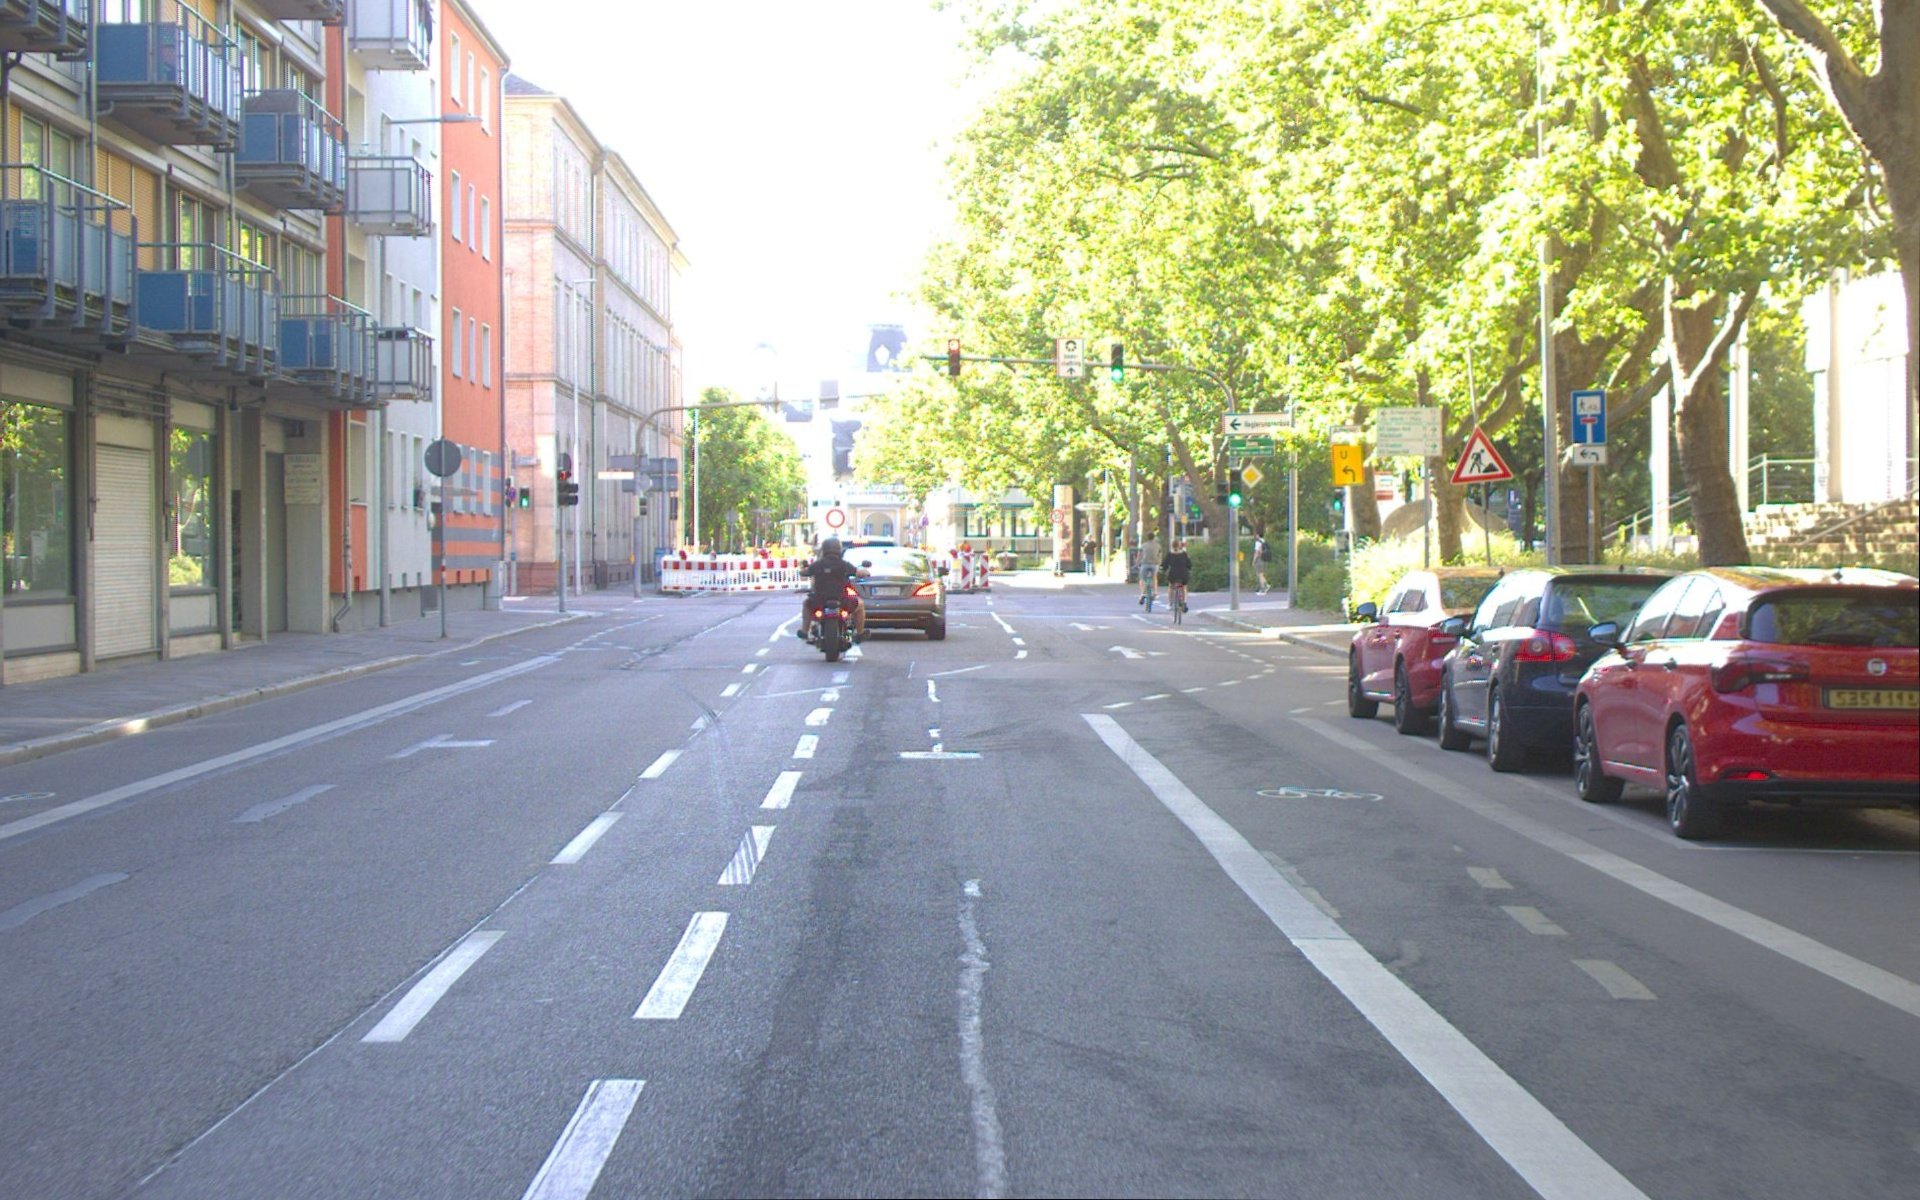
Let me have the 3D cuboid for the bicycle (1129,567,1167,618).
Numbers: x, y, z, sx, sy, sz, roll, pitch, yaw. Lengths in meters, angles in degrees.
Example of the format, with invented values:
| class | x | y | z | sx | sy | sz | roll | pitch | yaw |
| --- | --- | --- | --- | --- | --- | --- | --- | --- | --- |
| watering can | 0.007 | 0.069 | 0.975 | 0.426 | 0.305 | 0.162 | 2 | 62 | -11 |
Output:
| class | x | y | z | sx | sy | sz | roll | pitch | yaw |
| --- | --- | --- | --- | --- | --- | --- | --- | --- | --- |
| bicycle | 4.144 | -0.173 | 75.868 | 0.656 | 1.107 | 2.186 | 2 | 0 | -1 |

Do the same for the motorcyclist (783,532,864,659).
| class | x | y | z | sx | sy | sz | roll | pitch | yaw |
| --- | --- | --- | --- | --- | --- | --- | --- | --- | --- |
| motorcyclist | -1.732 | -0.067 | 43.933 | 1.012 | 1.596 | 1.406 | 0 | 1 | -1 |

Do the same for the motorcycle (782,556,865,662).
| class | x | y | z | sx | sy | sz | roll | pitch | yaw |
| --- | --- | --- | --- | --- | --- | --- | --- | --- | --- |
| motorcycle | -1.716 | 0.092 | 43.725 | 1.012 | 1.302 | 2.673 | 0 | 1 | -1 |

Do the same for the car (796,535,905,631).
| class | x | y | z | sx | sy | sz | roll | pitch | yaw |
| --- | --- | --- | --- | --- | --- | --- | --- | --- | --- |
| car | -2.020 | -0.323 | 62.537 | 1.629 | 1.645 | 3.851 | 2 | 0 | -7 |

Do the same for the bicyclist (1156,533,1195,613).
| class | x | y | z | sx | sy | sz | roll | pitch | yaw |
| --- | --- | --- | --- | --- | --- | --- | --- | --- | --- |
| bicyclist | 4.210 | -0.529 | 67.169 | 0.656 | 1.525 | 0.852 | 2 | 0 | -1 |

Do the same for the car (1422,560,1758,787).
| class | x | y | z | sx | sy | sz | roll | pitch | yaw |
| --- | --- | --- | --- | --- | --- | --- | --- | --- | --- |
| car | 4.554 | 0.478 | 25.405 | 1.693 | 1.461 | 4.065 | 2 | 1 | 0 |

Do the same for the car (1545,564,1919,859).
| class | x | y | z | sx | sy | sz | roll | pitch | yaw |
| --- | --- | --- | --- | --- | --- | --- | --- | --- | --- |
| car | 4.689 | 0.569 | 20.113 | 1.693 | 1.474 | 4.319 | 2 | 1 | -1 |

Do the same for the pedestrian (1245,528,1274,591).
| class | x | y | z | sx | sy | sz | roll | pitch | yaw |
| --- | --- | --- | --- | --- | --- | --- | --- | --- | --- |
| pedestrian | 8.503 | -1.152 | 97.565 | 0.624 | 1.768 | 0.571 | 2 | 0 | 25 |

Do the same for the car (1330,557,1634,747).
| class | x | y | z | sx | sy | sz | roll | pitch | yaw |
| --- | --- | --- | --- | --- | --- | --- | --- | --- | --- |
| car | 4.429 | 0.390 | 29.819 | 1.692 | 1.444 | 4.437 | 2 | 1 | -3 |

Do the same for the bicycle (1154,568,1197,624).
| class | x | y | z | sx | sy | sz | roll | pitch | yaw |
| --- | --- | --- | --- | --- | --- | --- | --- | --- | --- |
| bicycle | 4.203 | -0.082 | 67.110 | 0.656 | 1.066 | 1.927 | 2 | 0 | -1 |

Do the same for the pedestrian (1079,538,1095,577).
| class | x | y | z | sx | sy | sz | roll | pitch | yaw |
| --- | --- | --- | --- | --- | --- | --- | --- | --- | --- |
| pedestrian | 5.245 | -1.756 | 142.009 | 0.592 | 1.573 | 0.527 | 2 | 0 | -1 |

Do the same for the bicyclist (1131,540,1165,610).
| class | x | y | z | sx | sy | sz | roll | pitch | yaw |
| --- | --- | --- | --- | --- | --- | --- | --- | --- | --- |
| bicyclist | 4.150 | -0.552 | 75.925 | 0.656 | 1.525 | 0.906 | 2 | 0 | -1 |

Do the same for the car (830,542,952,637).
| class | x | y | z | sx | sy | sz | roll | pitch | yaw |
| --- | --- | --- | --- | --- | --- | --- | --- | --- | --- |
| car | -1.092 | -0.195 | 53.977 | 1.828 | 1.415 | 3.815 | 1 | 1 | -1 |
